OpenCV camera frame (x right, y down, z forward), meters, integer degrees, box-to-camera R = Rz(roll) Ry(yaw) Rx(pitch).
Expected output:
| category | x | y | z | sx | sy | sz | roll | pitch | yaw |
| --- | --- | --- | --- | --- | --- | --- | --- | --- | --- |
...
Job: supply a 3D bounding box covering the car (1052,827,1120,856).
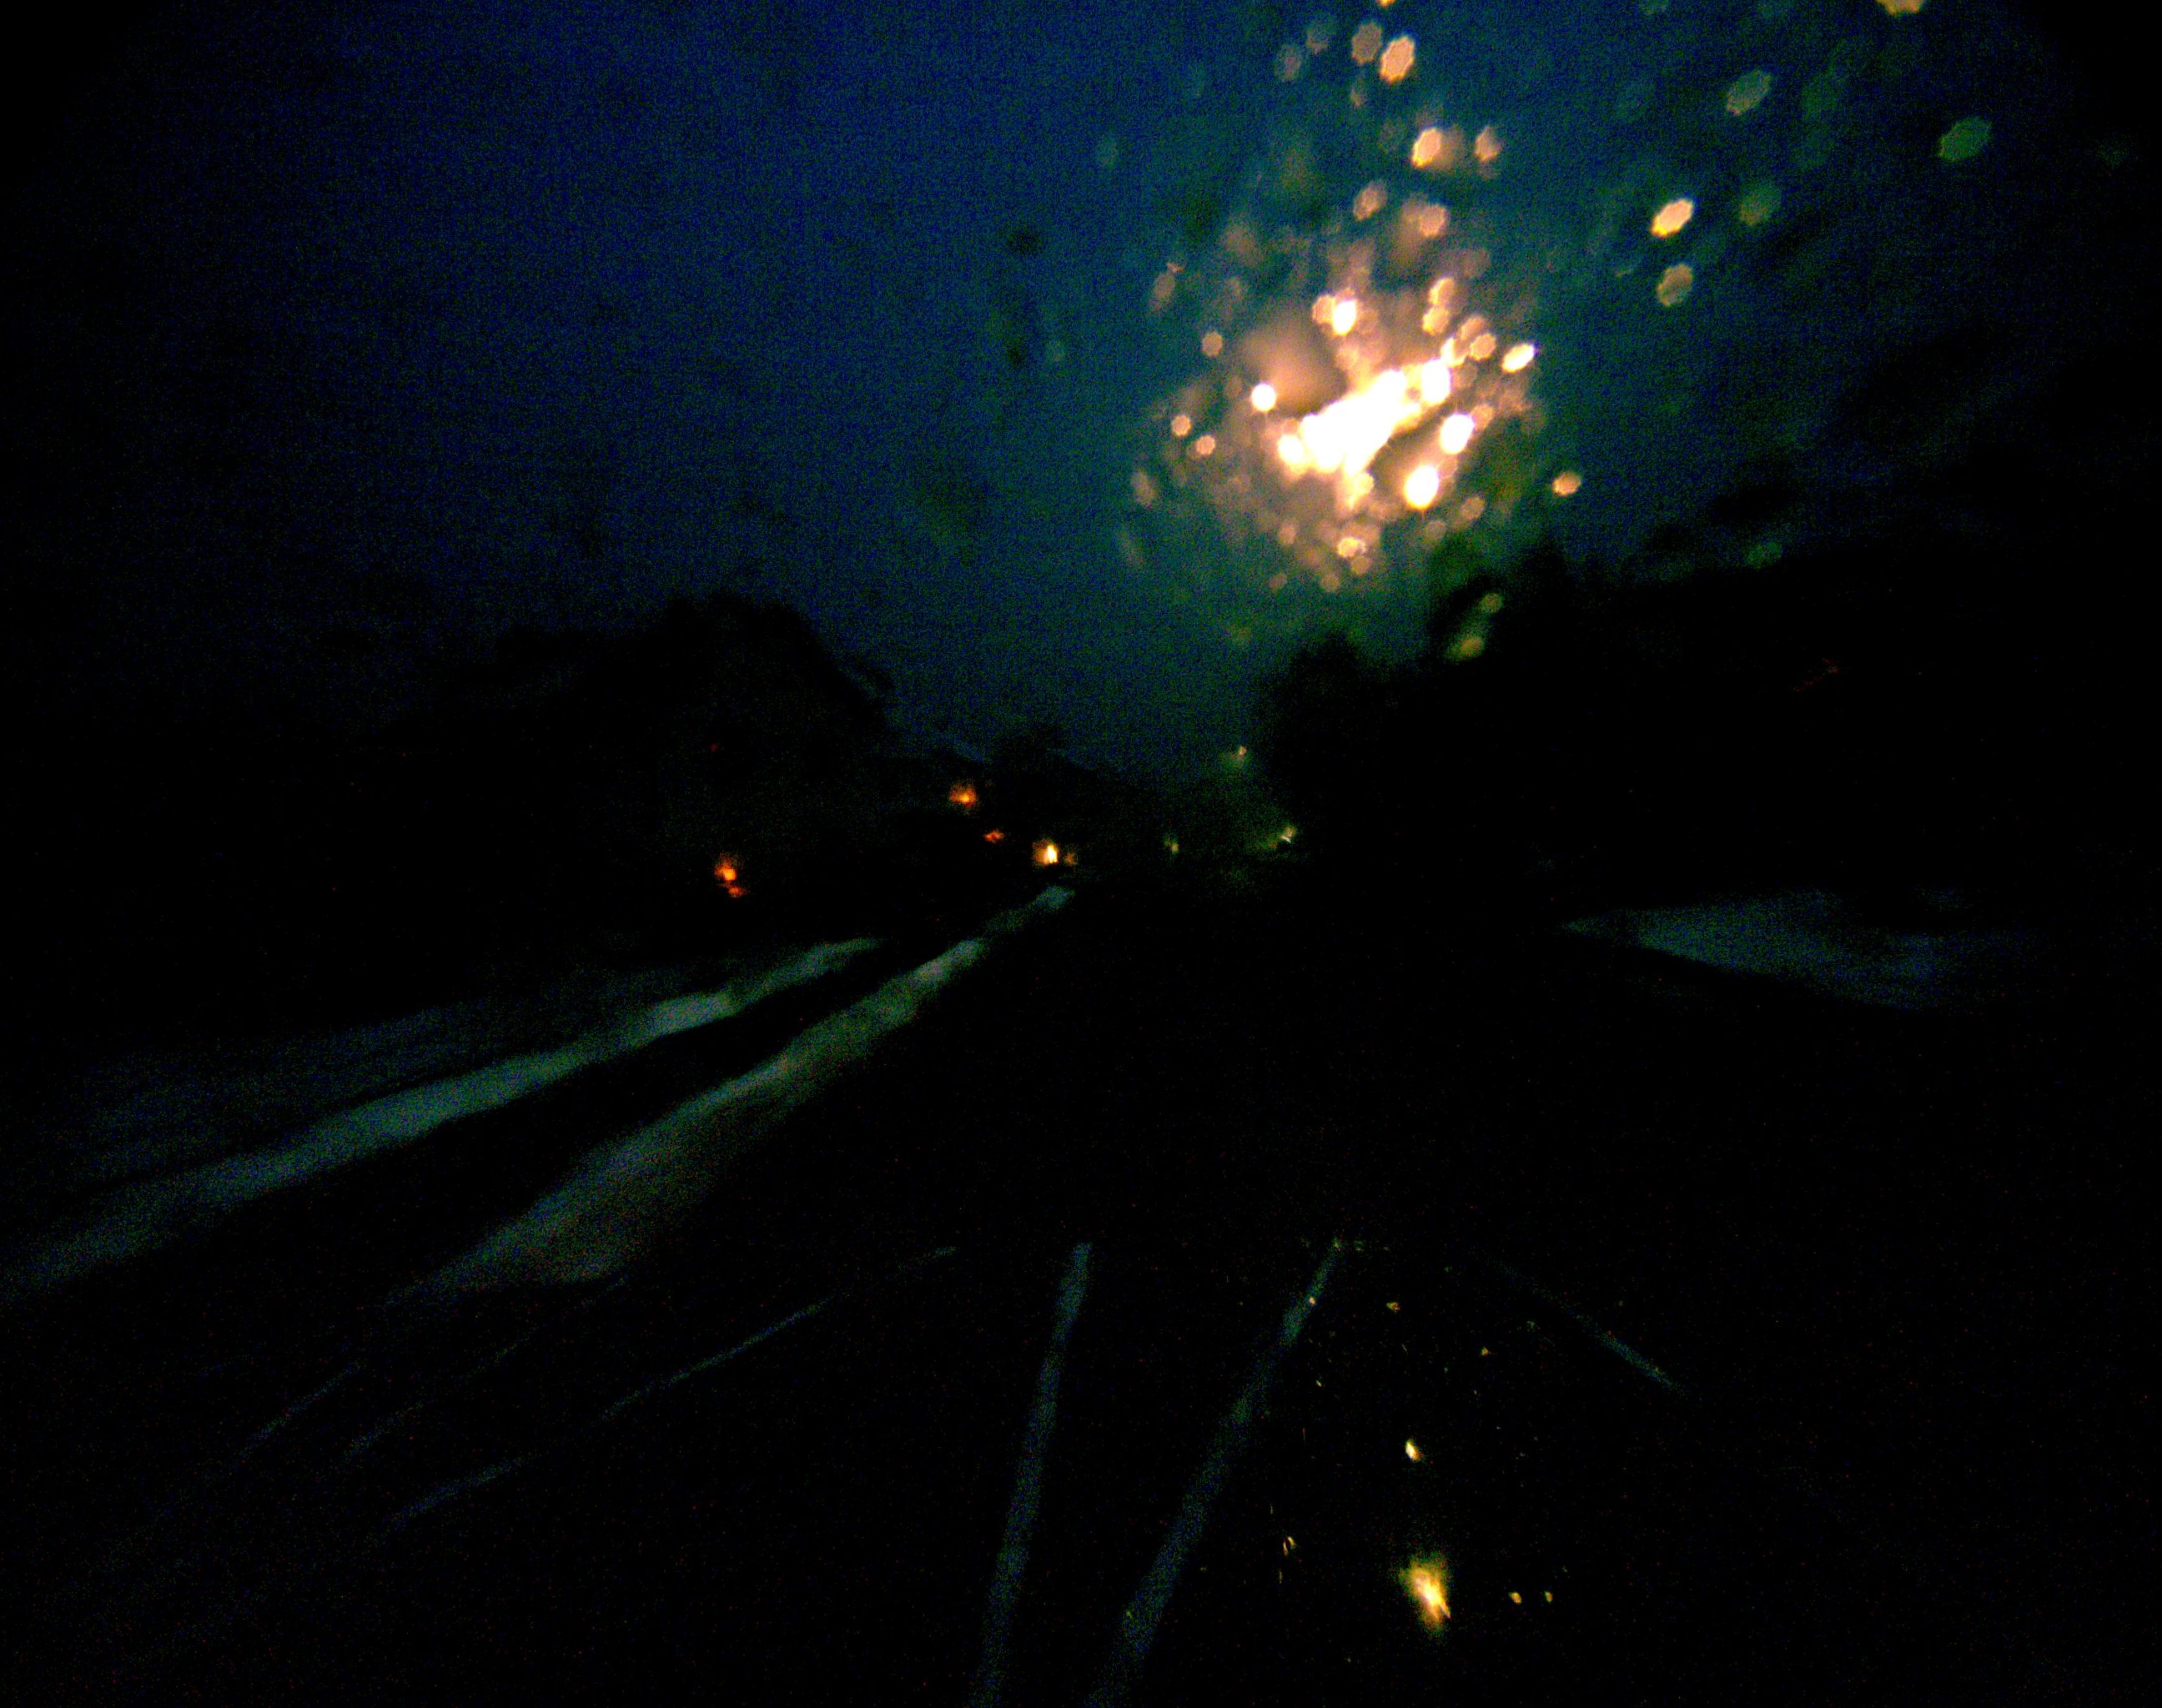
| category | x | y | z | sx | sy | sz | roll | pitch | yaw |
| --- | --- | --- | --- | --- | --- | --- | --- | --- | --- |
| car | 0.367 | -0.863 | 52.479 | 4.209 | 1.848 | 1.913 | 0 | 3 | 23 |
